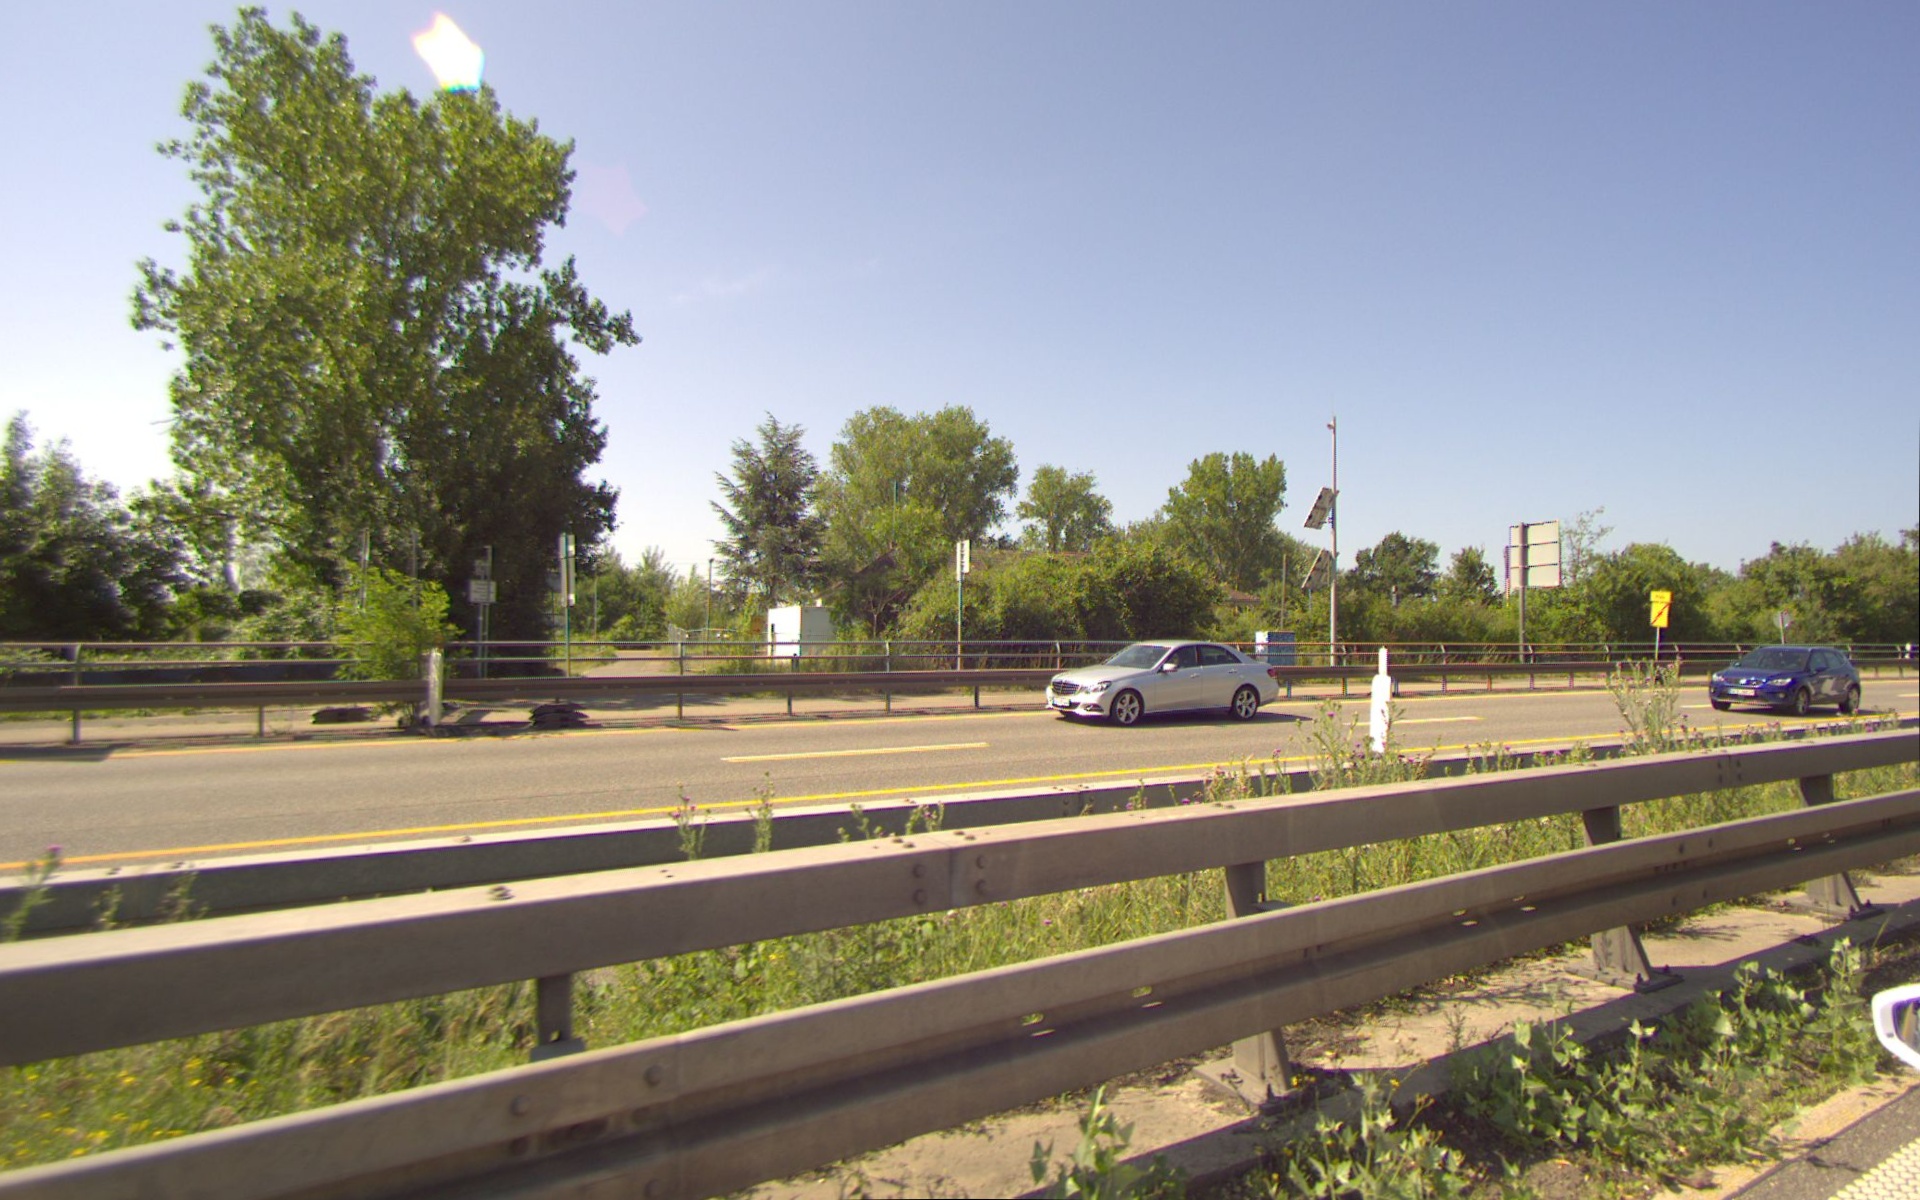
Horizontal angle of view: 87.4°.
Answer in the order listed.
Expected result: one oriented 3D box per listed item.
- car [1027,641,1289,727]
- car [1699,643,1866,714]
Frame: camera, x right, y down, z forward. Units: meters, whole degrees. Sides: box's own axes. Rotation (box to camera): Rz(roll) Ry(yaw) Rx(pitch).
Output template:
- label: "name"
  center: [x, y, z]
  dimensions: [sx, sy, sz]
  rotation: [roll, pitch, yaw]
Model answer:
- label: "car"
  center: [3.795, 1.508, 19.023]
  dimensions: [4.799, 1.439, 1.877]
  rotation: [1, -2, -28]
- label: "car"
  center: [19.479, 1.799, 23.768]
  dimensions: [3.951, 1.518, 1.730]
  rotation: [1, -2, -29]
